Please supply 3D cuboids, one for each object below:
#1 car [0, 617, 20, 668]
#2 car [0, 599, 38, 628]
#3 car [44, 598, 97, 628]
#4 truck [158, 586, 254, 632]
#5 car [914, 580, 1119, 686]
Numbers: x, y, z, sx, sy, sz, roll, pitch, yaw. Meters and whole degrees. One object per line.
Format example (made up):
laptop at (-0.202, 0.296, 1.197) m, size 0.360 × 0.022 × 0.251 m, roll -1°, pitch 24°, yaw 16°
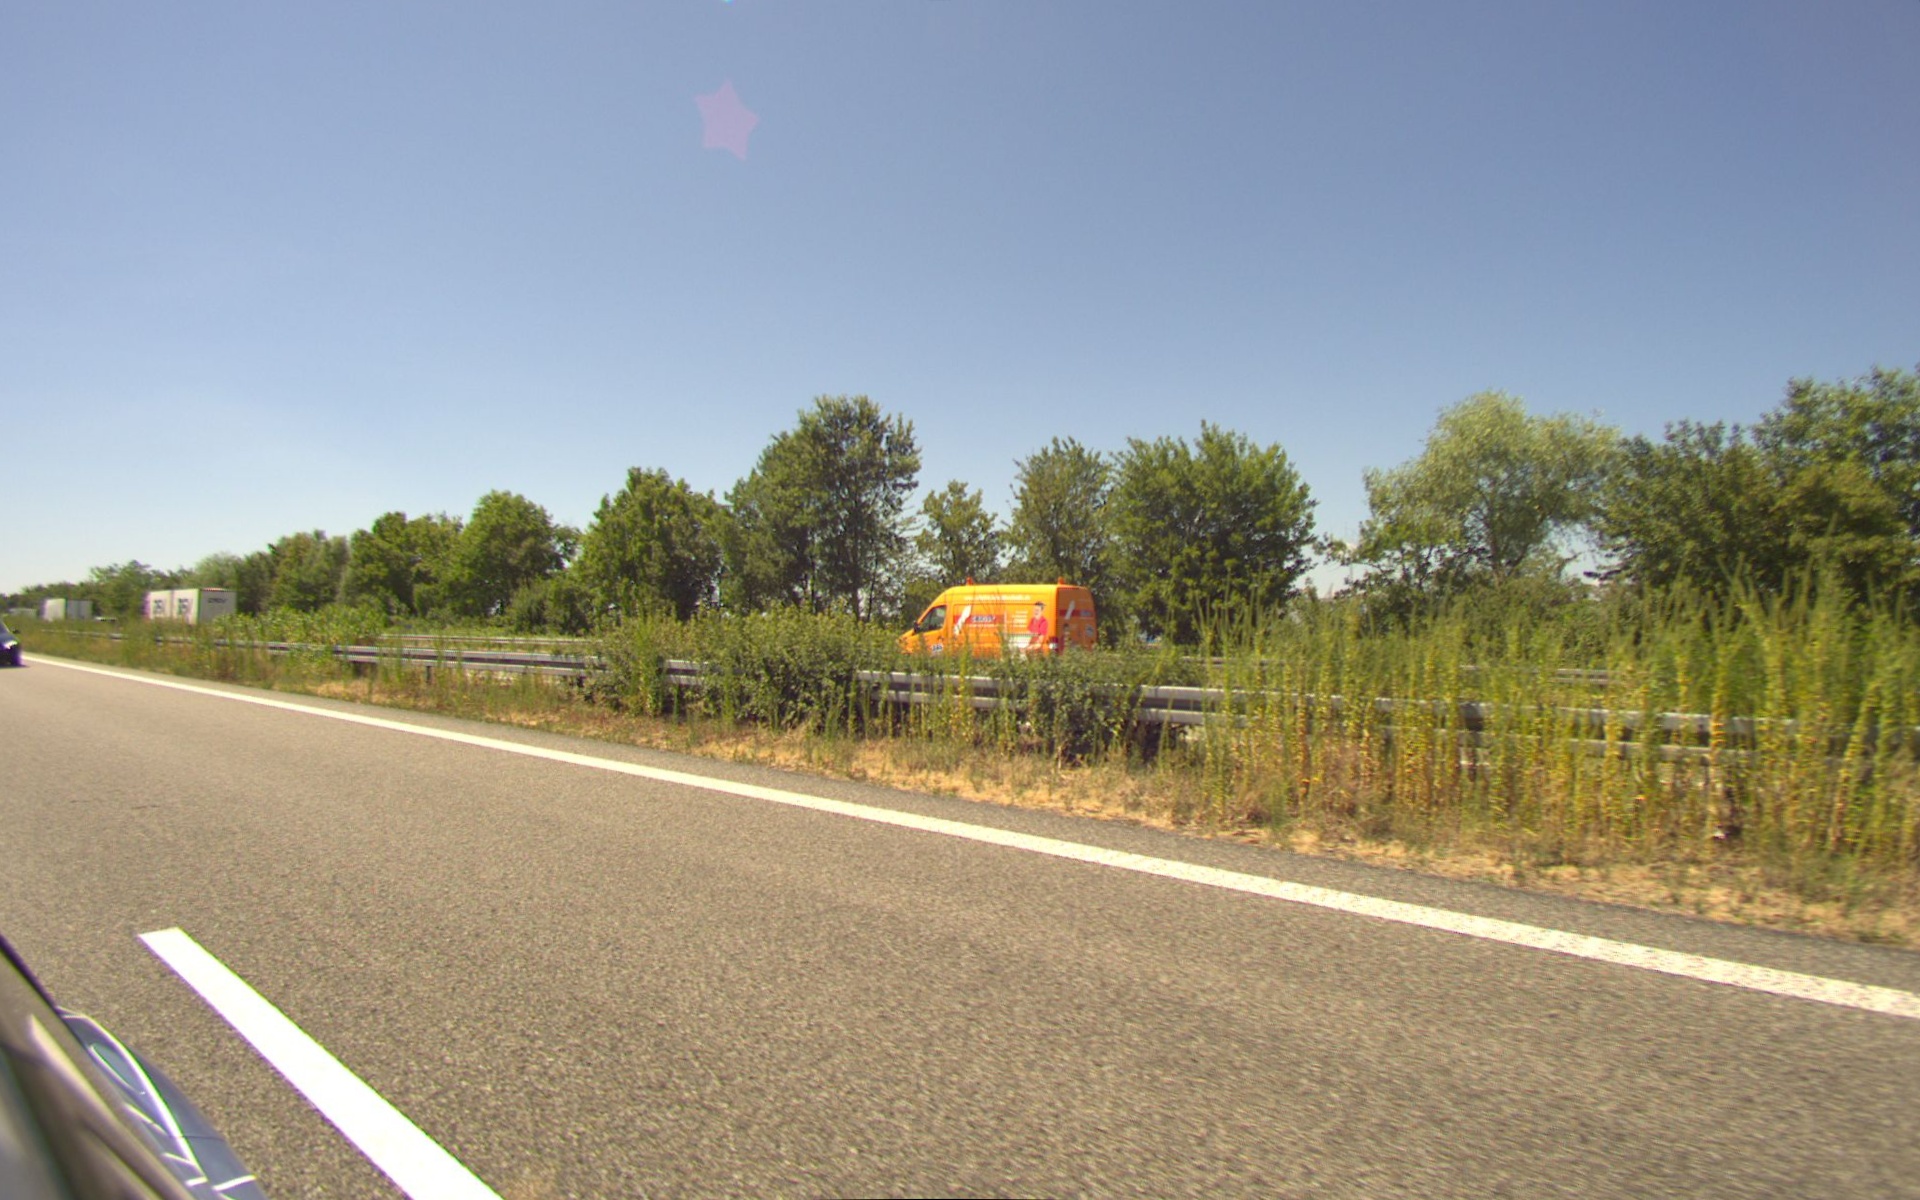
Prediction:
car at (-28.668, 1.225, 29.265) m, size 4.050 × 1.422 × 1.773 m, roll -1°, pitch -1°, yaw 41°
car at (-112.915, 1.634, 120.532) m, size 8.508 × 3.318 × 3.471 m, roll -1°, pitch 0°, yaw 40°
car at (-104.856, 1.529, 119.268) m, size 8.508 × 3.318 × 3.471 m, roll -1°, pitch 0°, yaw 40°
truck at (-61.136, 0.722, 81.952) m, size 10.684 × 3.464 × 4.069 m, roll -1°, pitch 0°, yaw 41°
car at (1.362, 0.805, 25.907) m, size 4.954 × 2.455 × 2.159 m, roll -1°, pitch -1°, yaw 42°
